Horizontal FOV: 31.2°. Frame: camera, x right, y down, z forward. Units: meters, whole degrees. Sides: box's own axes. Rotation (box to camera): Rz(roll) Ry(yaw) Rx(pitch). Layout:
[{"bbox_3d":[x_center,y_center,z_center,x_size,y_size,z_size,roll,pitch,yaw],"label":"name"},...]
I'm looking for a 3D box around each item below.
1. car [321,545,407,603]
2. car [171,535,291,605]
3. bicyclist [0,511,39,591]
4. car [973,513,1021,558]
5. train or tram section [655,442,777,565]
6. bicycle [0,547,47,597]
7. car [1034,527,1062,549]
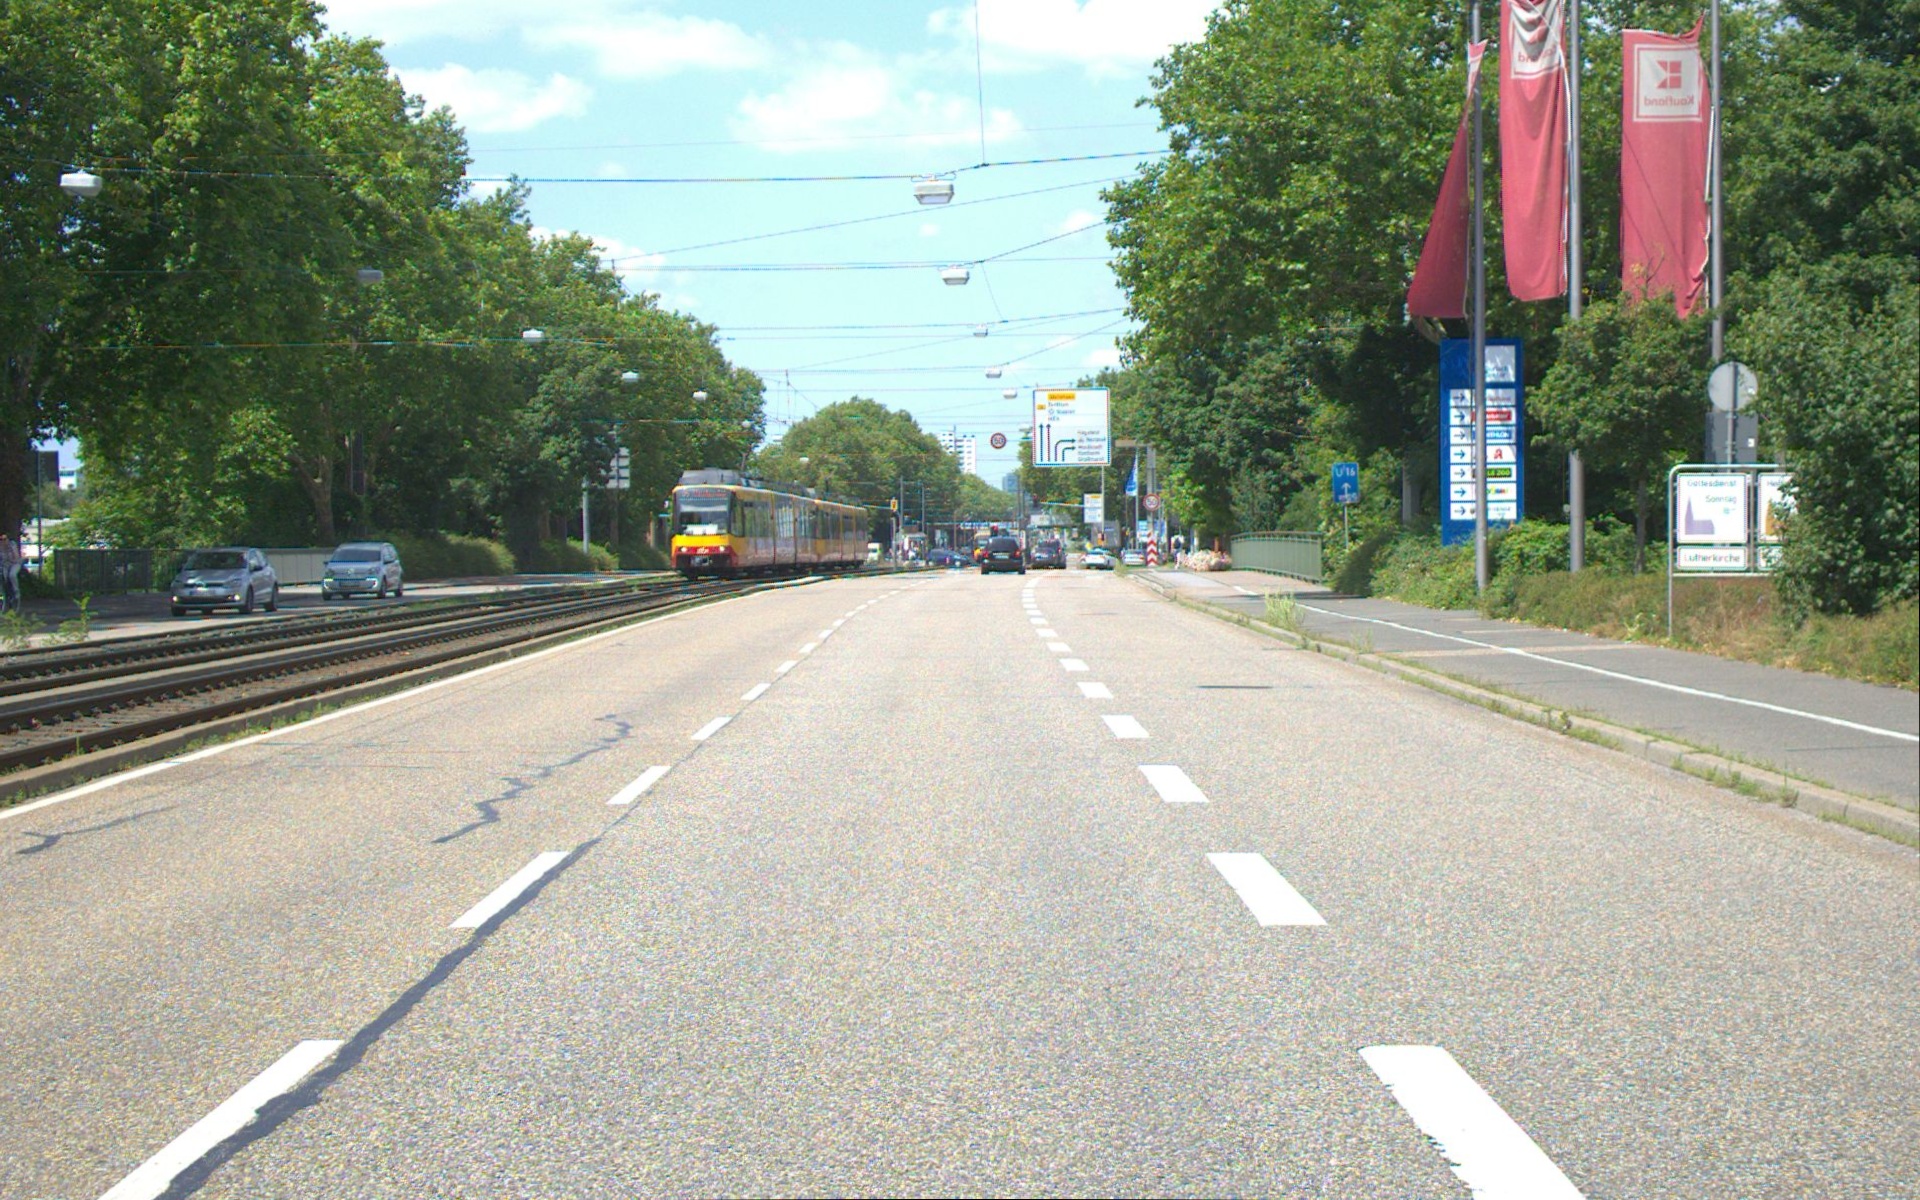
[{"bbox_3d":[-15.754,-0.708,91.029,1.636,1.431,3.722,-2,1,-1],"label":"car"},{"bbox_3d":[-15.815,-0.672,74.707,1.637,1.417,4.127,-1,1,1],"label":"car"},{"bbox_3d":[-19.361,-1.014,70.314,0.623,1.612,1.062,2,1,6],"label":"bicyclist"},{"bbox_3d":[1.556,-2.718,145.117,1.899,1.799,3.977,1,1,0],"label":"car"},{"bbox_3d":[-8.901,-3.501,127.152,3.048,4.252,15.423,-1,1,1],"label":"train or tram section"},{"bbox_3d":[-19.380,-0.586,70.368,0.623,0.976,2.054,2,1,6],"label":"bicycle"},{"bbox_3d":[6.435,-4.522,250.804,1.876,1.534,3.777,1,1,0],"label":"car"}]
